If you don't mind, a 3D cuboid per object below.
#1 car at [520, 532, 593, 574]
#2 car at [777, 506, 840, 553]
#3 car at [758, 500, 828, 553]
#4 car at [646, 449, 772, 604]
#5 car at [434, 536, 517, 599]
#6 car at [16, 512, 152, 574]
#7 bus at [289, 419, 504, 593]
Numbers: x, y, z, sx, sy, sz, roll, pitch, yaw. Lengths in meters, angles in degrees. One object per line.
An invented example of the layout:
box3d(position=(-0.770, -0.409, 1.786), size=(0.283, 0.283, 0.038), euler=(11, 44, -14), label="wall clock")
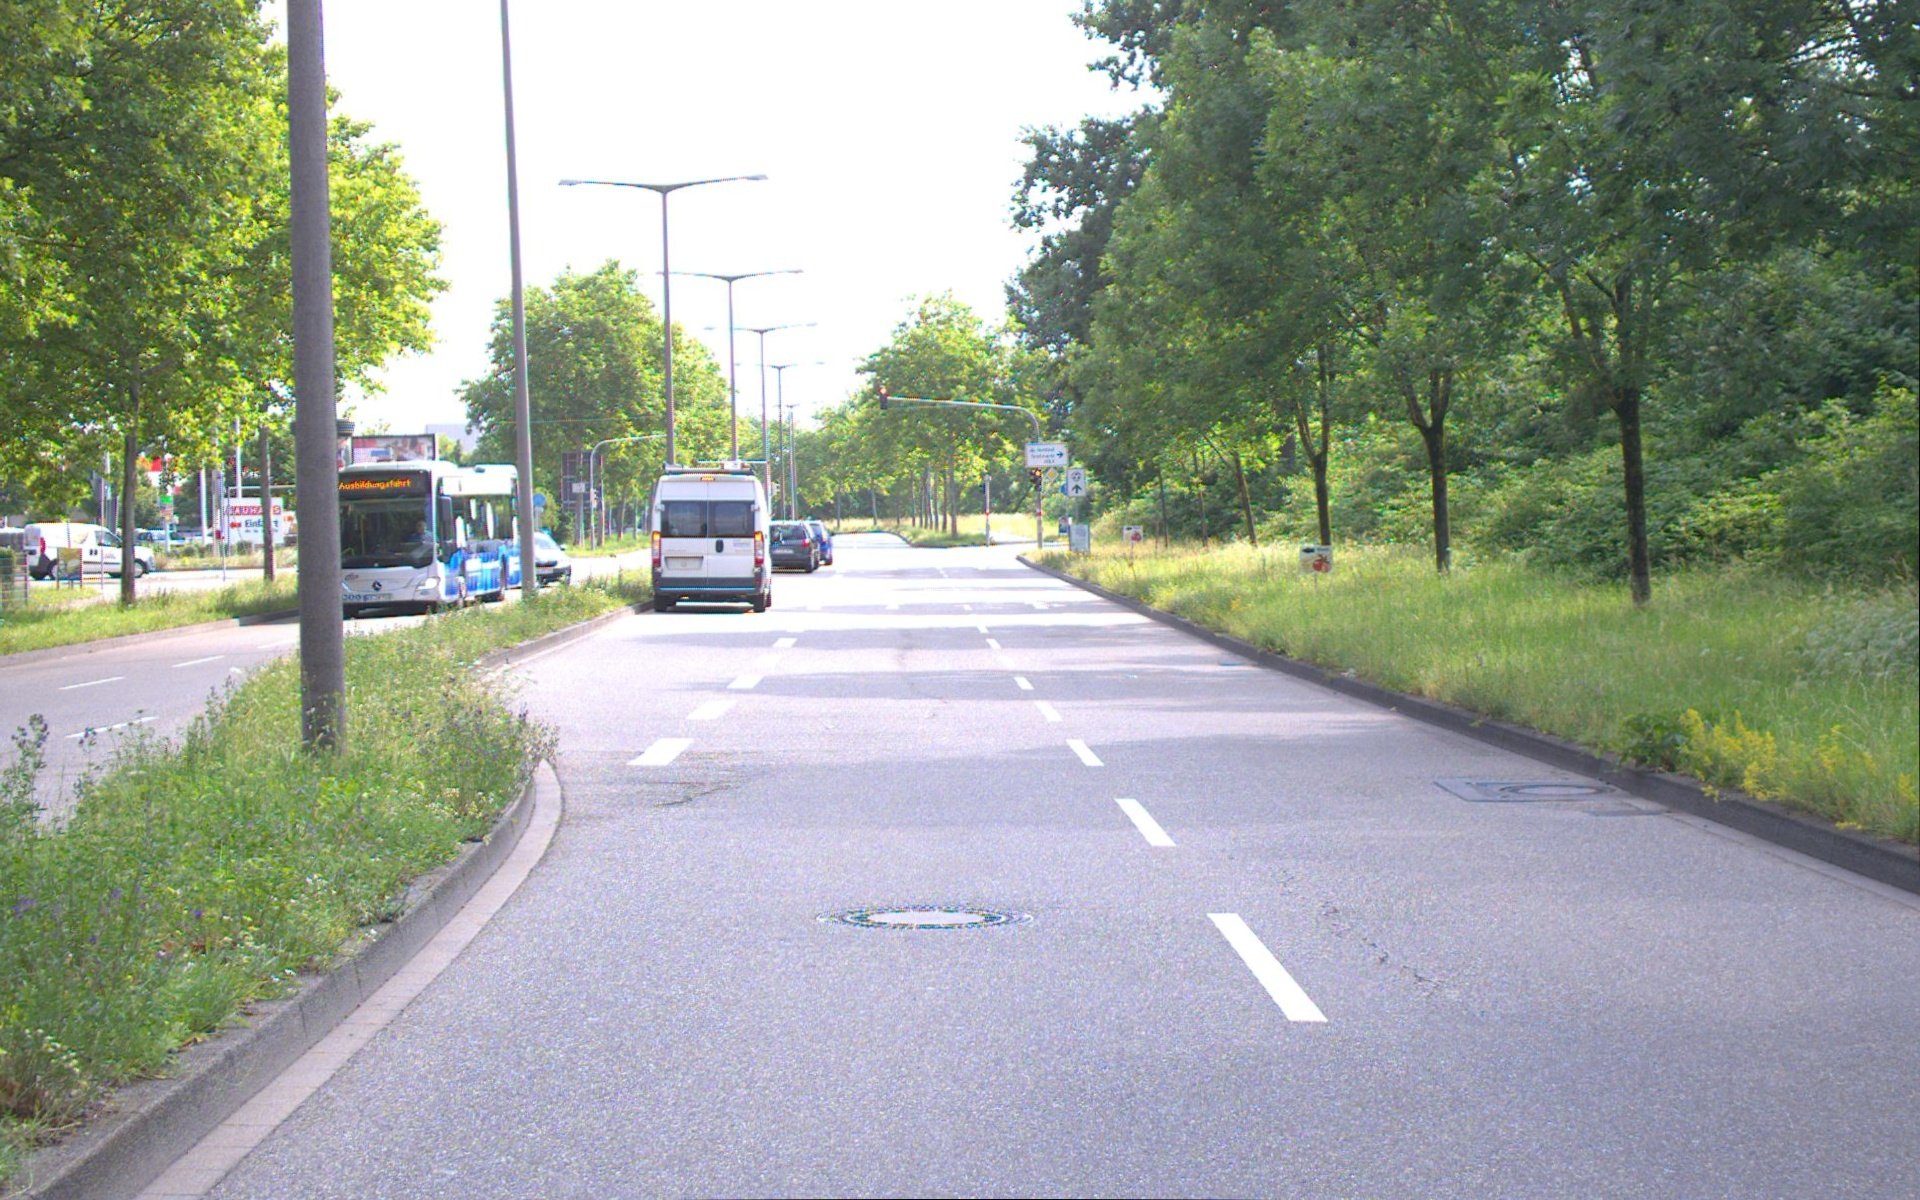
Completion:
box3d(position=(-10.559, -1.224, 90.106), size=(1.559, 1.037, 3.414), euler=(-1, 1, -1), label="car")
box3d(position=(-4.958, -2.282, 112.312), size=(1.806, 1.465, 3.857), euler=(-1, 1, -6), label="car")
box3d(position=(-4.905, -2.132, 100.646), size=(1.806, 1.465, 3.857), euler=(-1, 1, -6), label="car")
box3d(position=(-4.595, -1.406, 63.360), size=(2.197, 2.716, 4.933), euler=(0, 3, -4), label="car")
box3d(position=(-13.808, -0.914, 98.108), size=(1.884, 1.578, 3.881), euler=(0, -2, -1), label="car")
box3d(position=(-29.235, -1.888, 114.813), size=(3.988, 1.832, 1.864), euler=(2, -3, -40), label="car")
box3d(position=(-11.813, -1.889, 73.240), size=(3.109, 3.263, 12.339), euler=(-2, 1, -3), label="bus")
